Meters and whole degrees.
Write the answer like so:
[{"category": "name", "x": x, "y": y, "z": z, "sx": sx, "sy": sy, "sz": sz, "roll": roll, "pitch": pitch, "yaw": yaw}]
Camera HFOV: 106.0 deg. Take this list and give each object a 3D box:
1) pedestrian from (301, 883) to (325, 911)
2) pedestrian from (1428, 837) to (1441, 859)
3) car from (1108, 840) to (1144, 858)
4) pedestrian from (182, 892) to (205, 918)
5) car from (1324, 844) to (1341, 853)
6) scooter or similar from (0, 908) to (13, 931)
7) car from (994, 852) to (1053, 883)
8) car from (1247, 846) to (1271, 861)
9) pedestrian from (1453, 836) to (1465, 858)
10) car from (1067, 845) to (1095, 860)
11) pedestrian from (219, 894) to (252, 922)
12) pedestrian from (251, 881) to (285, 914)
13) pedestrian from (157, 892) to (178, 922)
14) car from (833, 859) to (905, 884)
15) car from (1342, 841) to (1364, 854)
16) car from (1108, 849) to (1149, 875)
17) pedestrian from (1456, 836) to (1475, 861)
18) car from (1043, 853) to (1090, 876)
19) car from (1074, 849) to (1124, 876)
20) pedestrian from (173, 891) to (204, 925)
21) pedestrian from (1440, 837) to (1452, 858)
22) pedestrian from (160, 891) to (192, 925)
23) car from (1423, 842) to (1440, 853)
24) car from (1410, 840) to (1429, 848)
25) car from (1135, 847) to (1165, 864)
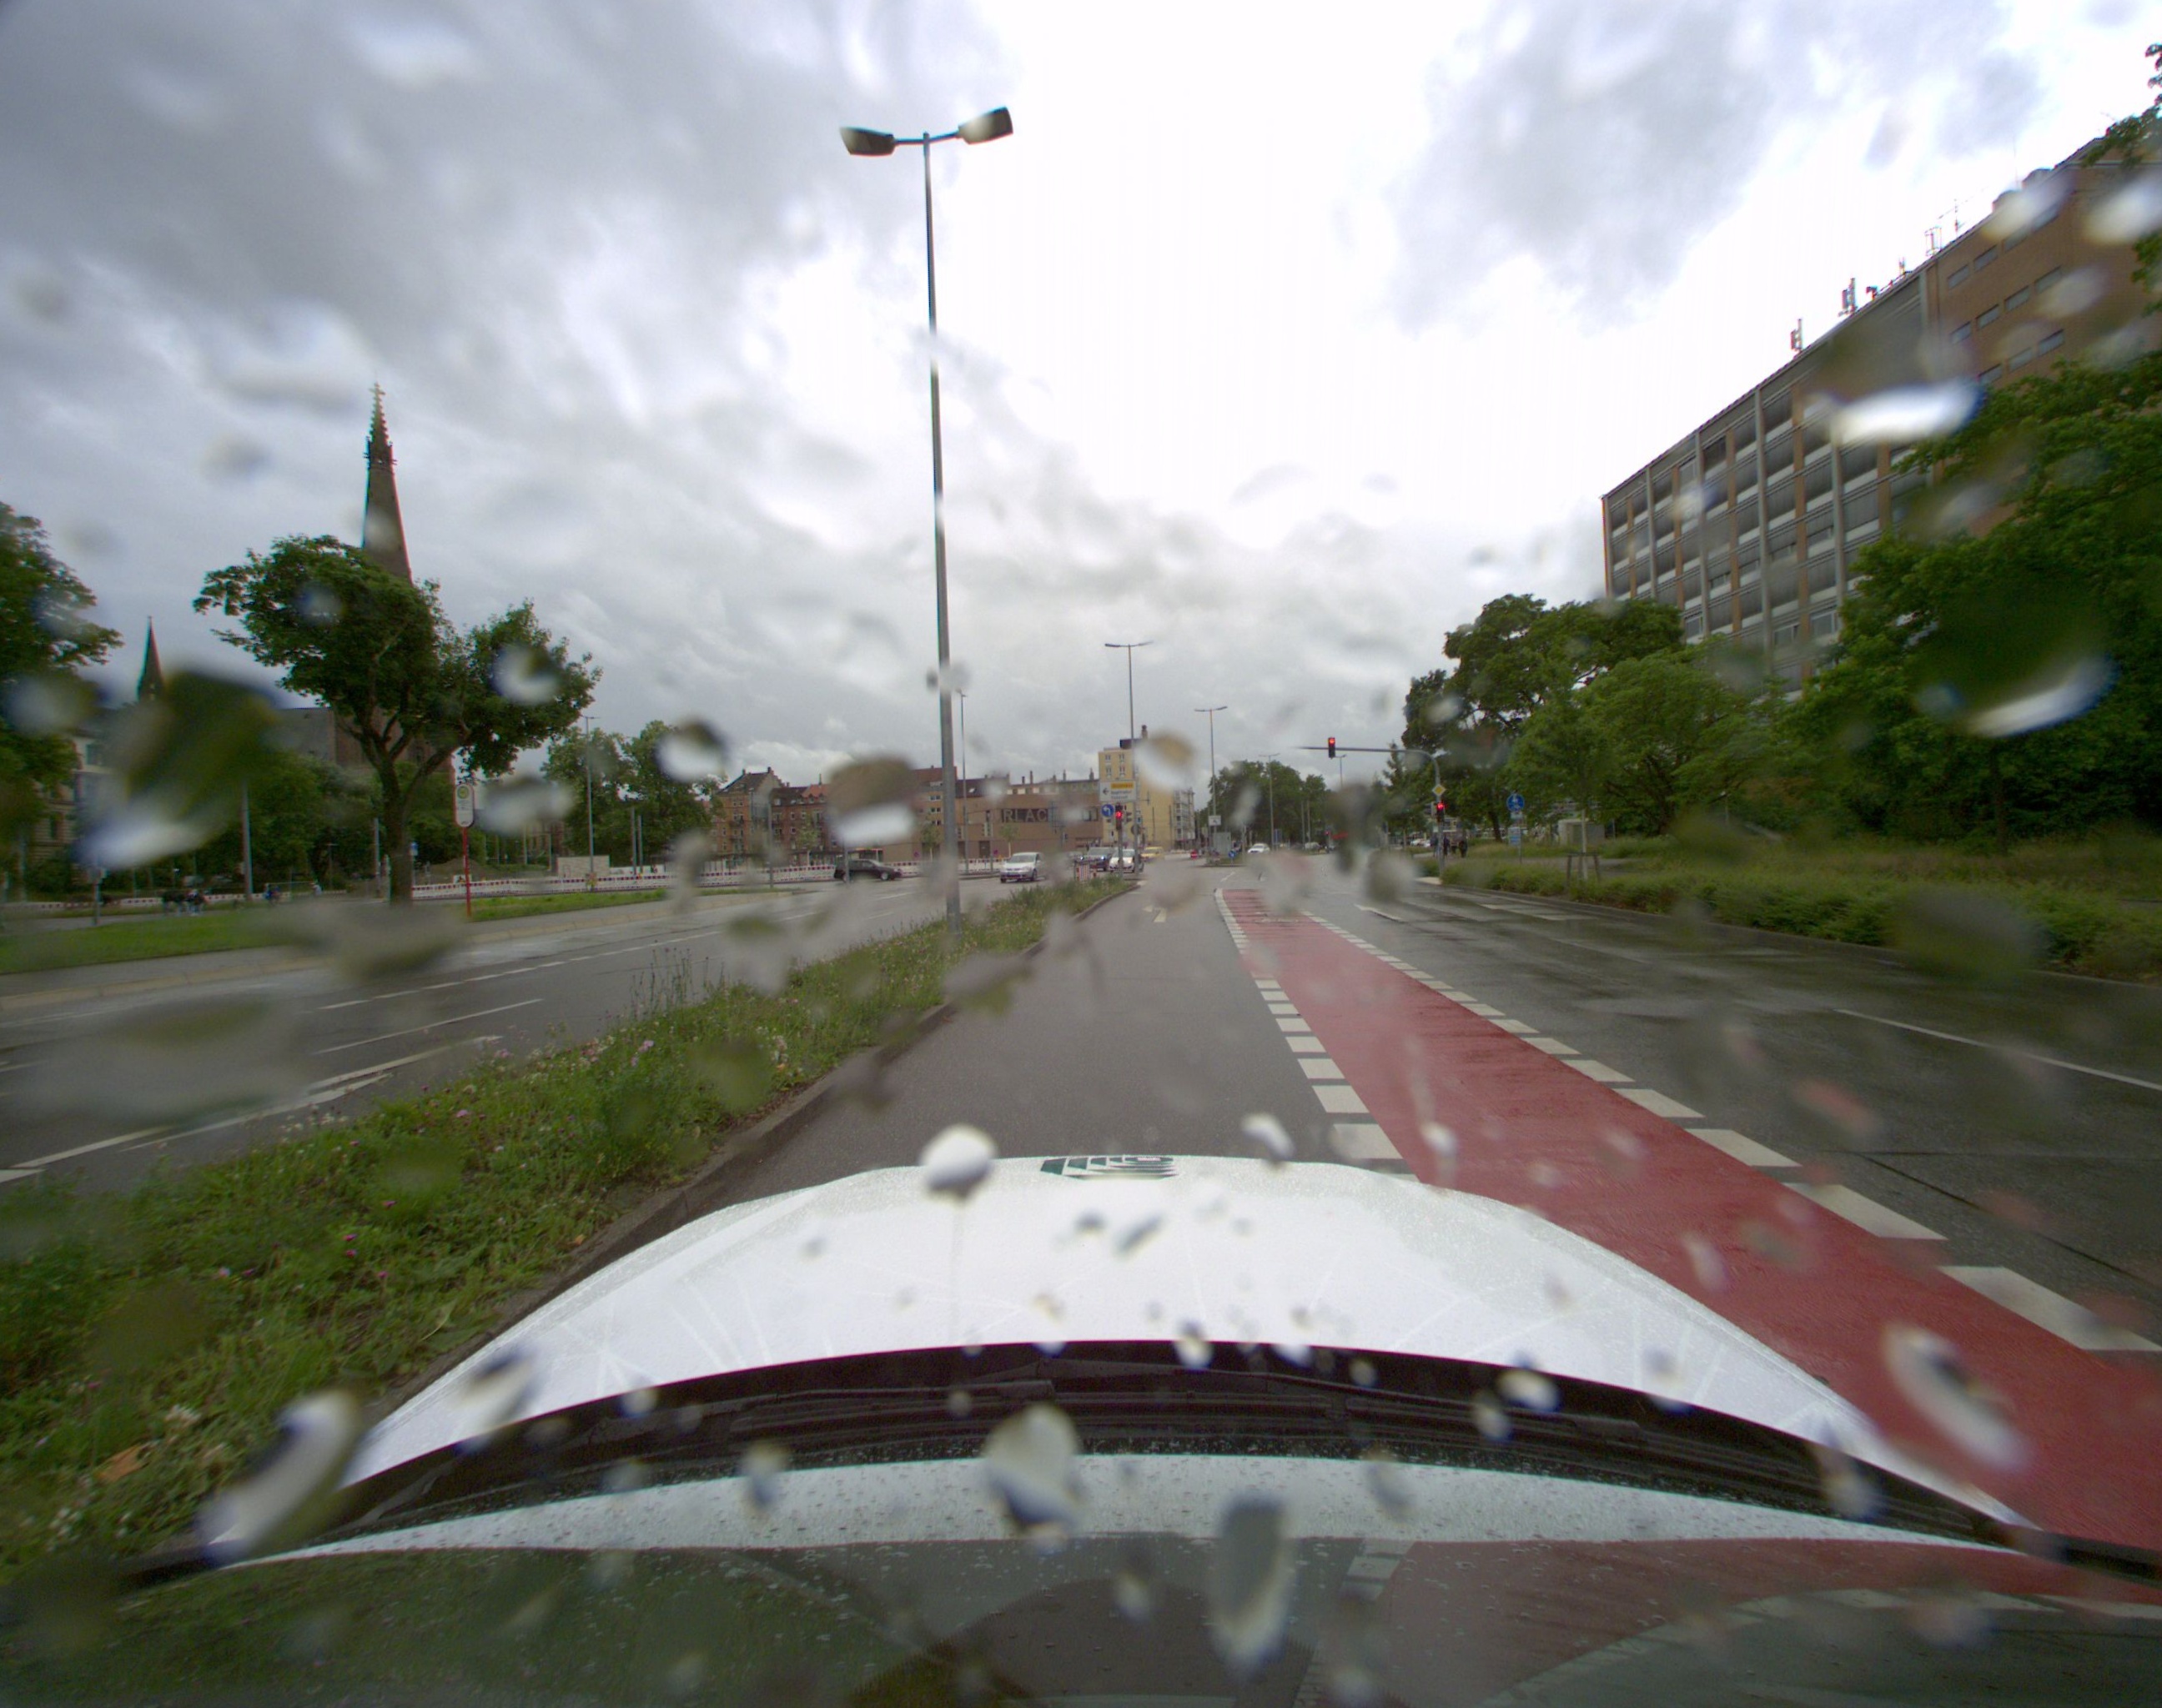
[{"category": "pedestrian", "x": -50.274, "y": 2.790, "z": 53.305, "sx": 0.719, "sy": 1.777, "sz": 0.776, "roll": -2, "pitch": 0, "yaw": 9}, {"category": "pedestrian", "x": 26.601, "y": -0.455, "z": 61.311, "sx": 0.747, "sy": 1.588, "sz": 0.941, "roll": -2, "pitch": 0, "yaw": 19}, {"category": "car", "x": 9.164, "y": -0.945, "z": 165.655, "sx": 6.697, "sy": 3.380, "sz": 2.819, "roll": -2, "pitch": 0, "yaw": 11}, {"category": "pedestrian", "x": -54.192, "y": 3.121, "z": 49.723, "sx": 0.676, "sy": 1.500, "sz": 0.767, "roll": -2, "pitch": 0, "yaw": -27}, {"category": "car", "x": 44.633, "y": -0.989, "z": 144.612, "sx": 1.677, "sy": 1.415, "sz": 4.210, "roll": -2, "pitch": 0, "yaw": 34}, {"category": "scooter or similar", "x": -51.537, "y": 3.135, "z": 39.062, "sx": 1.064, "sy": 1.081, "sz": 0.281, "roll": -2, "pitch": 0, "yaw": 34}, {"category": "car", "x": -2.867, "y": 0.656, "z": 41.551, "sx": 1.667, "sy": 1.404, "sz": 4.174, "roll": -3, "pitch": 0, "yaw": 14}, {"category": "car", "x": 22.720, "y": -0.049, "z": 103.853, "sx": 1.809, "sy": 1.682, "sz": 5.196, "roll": -4, "pitch": 0, "yaw": 25}, {"category": "pedestrian", "x": 28.338, "y": -0.527, "z": 61.010, "sx": 0.697, "sy": 1.588, "sz": 0.941, "roll": -2, "pitch": 0, "yaw": 19}, {"category": "car", "x": 0.077, "y": -0.298, "z": 167.724, "sx": 5.315, "sy": 2.887, "sz": 2.347, "roll": -2, "pitch": 0, "yaw": 11}, {"category": "pedestrian", "x": -50.678, "y": 3.233, "z": 48.812, "sx": 0.932, "sy": 1.539, "sz": 1.054, "roll": -2, "pitch": 0, "yaw": -17}, {"category": "pedestrian", "x": -52.334, "y": 2.768, "z": 52.427, "sx": 0.997, "sy": 2.013, "sz": 1.301, "roll": -2, "pitch": 0, "yaw": -17}, {"category": "pedestrian", "x": -59.029, "y": 3.408, "z": 52.606, "sx": 0.602, "sy": 1.890, "sz": 0.603, "roll": -2, "pitch": 0, "yaw": 3}, {"category": "car", "x": -13.727, "y": 1.123, "z": 52.889, "sx": 4.174, "sy": 1.402, "sz": 1.619, "roll": -2, "pitch": 0, "yaw": 2}, {"category": "car", "x": 35.528, "y": -0.831, "z": 106.337, "sx": 1.773, "sy": 1.643, "sz": 4.186, "roll": -2, "pitch": 0, "yaw": 31}, {"category": "car", "x": 3.072, "y": 0.483, "z": 51.953, "sx": 1.666, "sy": 1.501, "sz": 3.886, "roll": -3, "pitch": 0, "yaw": 18}, {"category": "pedestrian", "x": 25.546, "y": -0.369, "z": 54.147, "sx": 1.014, "sy": 1.588, "sz": 0.941, "roll": -2, "pitch": 0, "yaw": 19}, {"category": "car", "x": -1.151, "y": 0.877, "z": 66.164, "sx": 1.689, "sy": 1.706, "sz": 3.844, "roll": -2, "pitch": 0, "yaw": 40}, {"category": "car", "x": 1.313, "y": 0.551, "z": 56.368, "sx": 1.977, "sy": 1.636, "sz": 4.626, "roll": -4, "pitch": 0, "yaw": 20}, {"category": "pedestrian", "x": -55.922, "y": 3.394, "z": 51.037, "sx": 0.851, "sy": 2.013, "sz": 0.959, "roll": -2, "pitch": 0, "yaw": 9}, {"category": "pedestrian", "x": 27.418, "y": -0.489, "z": 61.175, "sx": 0.697, "sy": 1.588, "sz": 0.941, "roll": -2, "pitch": 0, "yaw": 19}, {"category": "pedestrian", "x": -56.900, "y": 3.382, "z": 51.218, "sx": 0.851, "sy": 2.013, "sz": 0.959, "roll": -2, "pitch": 0, "yaw": 9}, {"category": "car", "x": 53.489, "y": -1.032, "z": 124.379, "sx": 1.773, "sy": 1.643, "sz": 4.186, "roll": -2, "pitch": 0, "yaw": 31}, {"category": "car", "x": 73.340, "y": -2.168, "z": 176.432, "sx": 4.419, "sy": 1.643, "sz": 1.775, "roll": -2, "pitch": 0, "yaw": -39}, {"category": "car", "x": 7.378, "y": 0.157, "z": 86.839, "sx": 1.689, "sy": 1.706, "sz": 4.177, "roll": -2, "pitch": 0, "yaw": 26}]
